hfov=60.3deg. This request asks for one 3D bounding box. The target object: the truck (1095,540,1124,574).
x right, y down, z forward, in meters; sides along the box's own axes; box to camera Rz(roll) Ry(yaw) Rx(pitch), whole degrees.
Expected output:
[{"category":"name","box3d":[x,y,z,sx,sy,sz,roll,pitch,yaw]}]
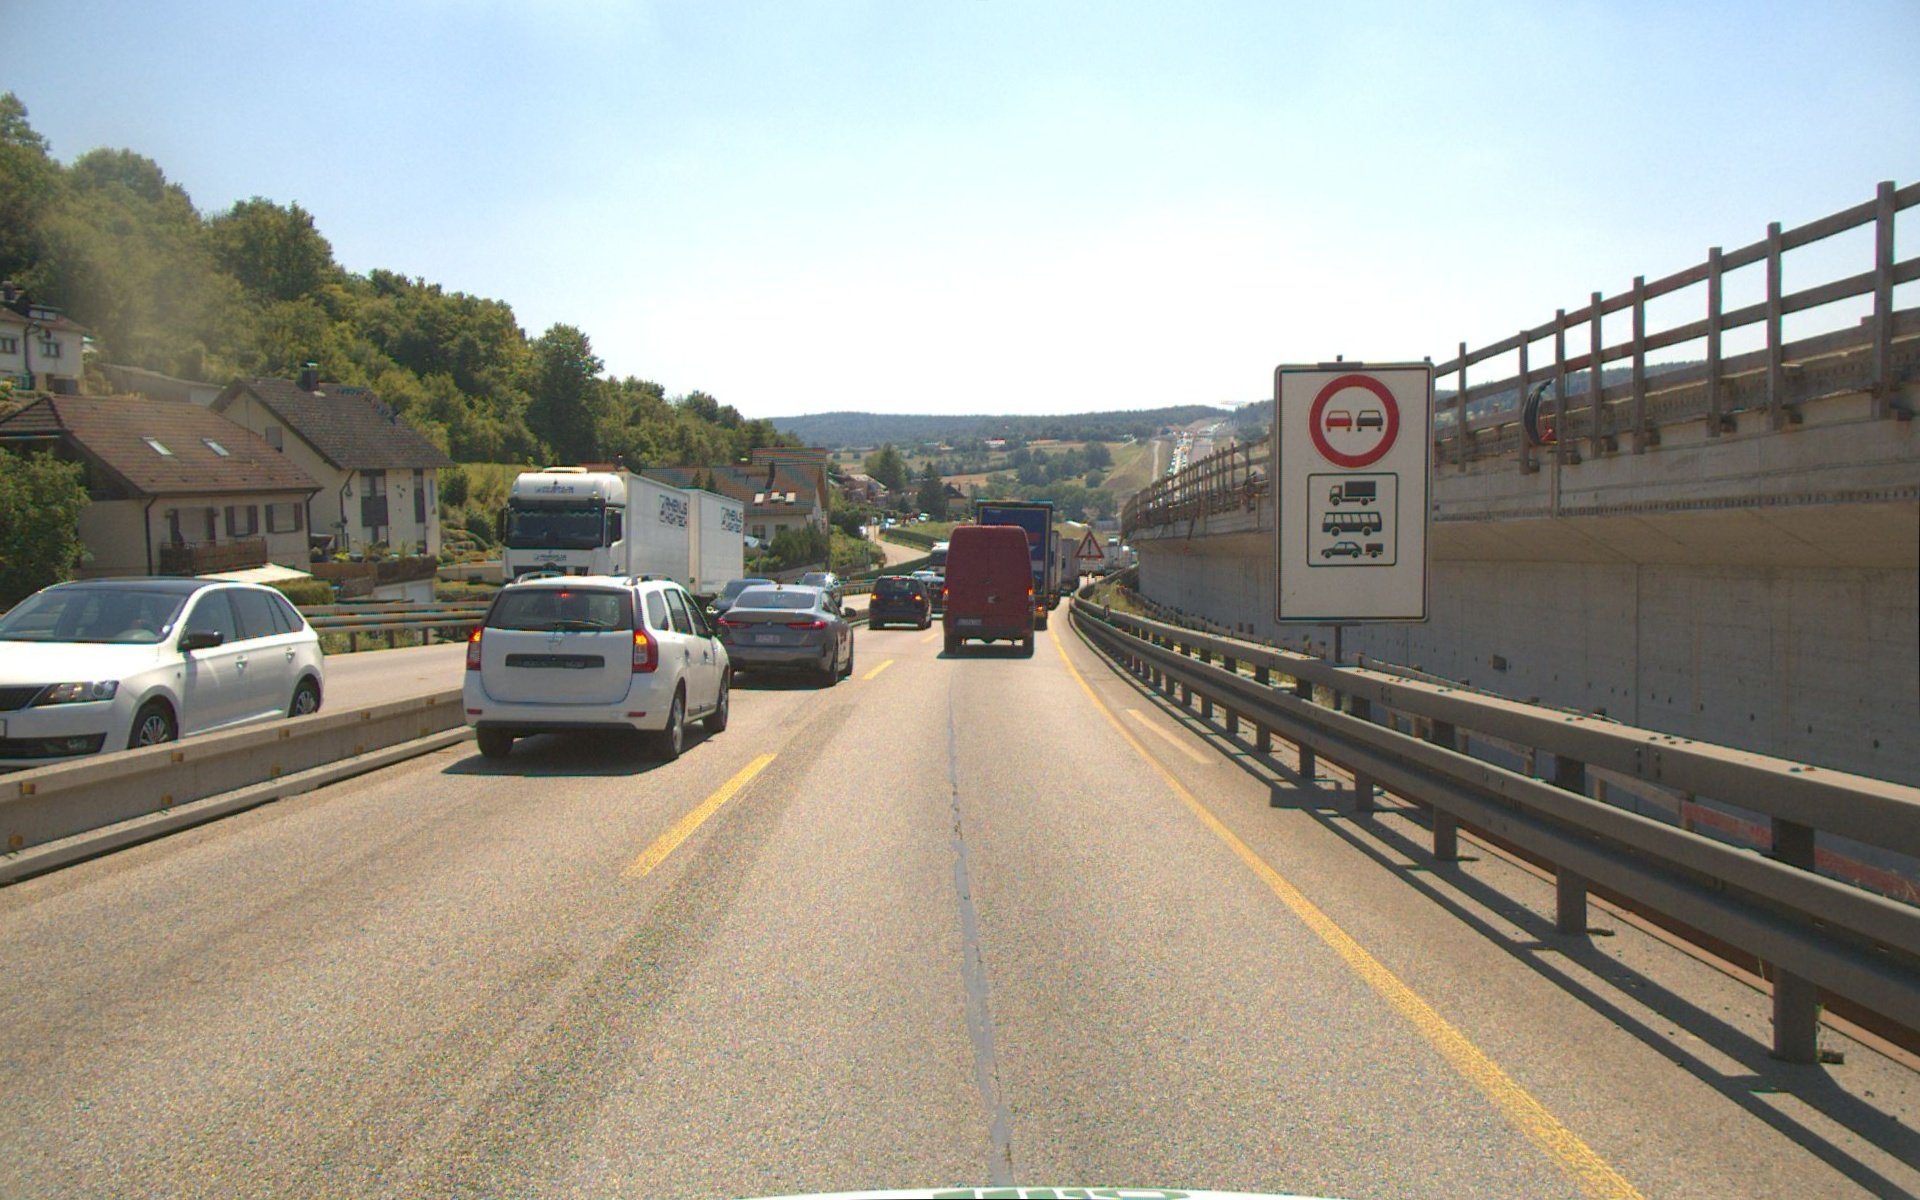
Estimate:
[{"category":"truck","box3d":[20.919,-5.960,231.094,3.393,4.458,8.564,0,0,9]}]

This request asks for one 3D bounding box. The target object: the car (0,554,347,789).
[{"category":"car","box3d":[-6.398,0.484,12.994,1.549,1.548,4.154,0,0,1]}]

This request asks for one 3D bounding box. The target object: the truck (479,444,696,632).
[{"category":"truck","box3d":[-9.285,-1.490,42.734,2.916,4.234,10.548,0,1,2]}]

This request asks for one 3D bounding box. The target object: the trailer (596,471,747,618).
[{"category":"trailer","box3d":[-8.964,-1.652,52.534,2.941,4.238,9.019,0,1,2]}]

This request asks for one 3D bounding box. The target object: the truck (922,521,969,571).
[{"category":"truck","box3d":[-1.185,-4.575,141.423,3.068,4.150,6.885,0,1,7]}]

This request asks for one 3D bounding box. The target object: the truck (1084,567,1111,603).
[{"category":"truck","box3d":[17.543,-1.832,210.600,3.004,4.458,8.563,0,0,8]}]

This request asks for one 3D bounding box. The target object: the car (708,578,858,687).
[{"category":"car","box3d":[-2.580,0.435,24.913,1.757,1.511,4.050,0,0,1]}]

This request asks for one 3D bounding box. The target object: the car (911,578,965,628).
[{"category":"car","box3d":[-0.834,0.126,64.692,1.693,1.870,4.002,0,0,5]}]

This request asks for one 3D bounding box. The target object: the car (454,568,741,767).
[{"category":"car","box3d":[-3.117,0.529,15.067,1.618,1.509,4.266,-2,0,0]}]

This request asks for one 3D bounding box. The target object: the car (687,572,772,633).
[{"category":"car","box3d":[-6.066,0.029,44.000,1.746,1.504,4.619,0,1,-2]}]

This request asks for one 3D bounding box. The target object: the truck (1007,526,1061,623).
[{"category":"truck","box3d":[4.011,-1.251,88.664,2.728,4.900,9.688,0,0,3]}]

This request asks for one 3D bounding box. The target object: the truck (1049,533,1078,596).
[{"category":"truck","box3d":[7.506,-2.541,119.911,1.951,4.458,4.002,0,-1,5]}]

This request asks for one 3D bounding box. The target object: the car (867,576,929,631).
[{"category":"car","box3d":[-1.907,0.119,52.005,1.773,1.636,3.719,0,0,0]}]

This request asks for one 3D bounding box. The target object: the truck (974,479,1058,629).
[{"category":"truck","box3d":[2.090,-1.473,58.918,2.728,4.900,9.688,0,0,3]}]

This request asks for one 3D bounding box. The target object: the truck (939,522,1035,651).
[{"category":"truck","box3d":[0.591,-0.254,35.816,1.952,2.624,4.000,0,0,1]}]
